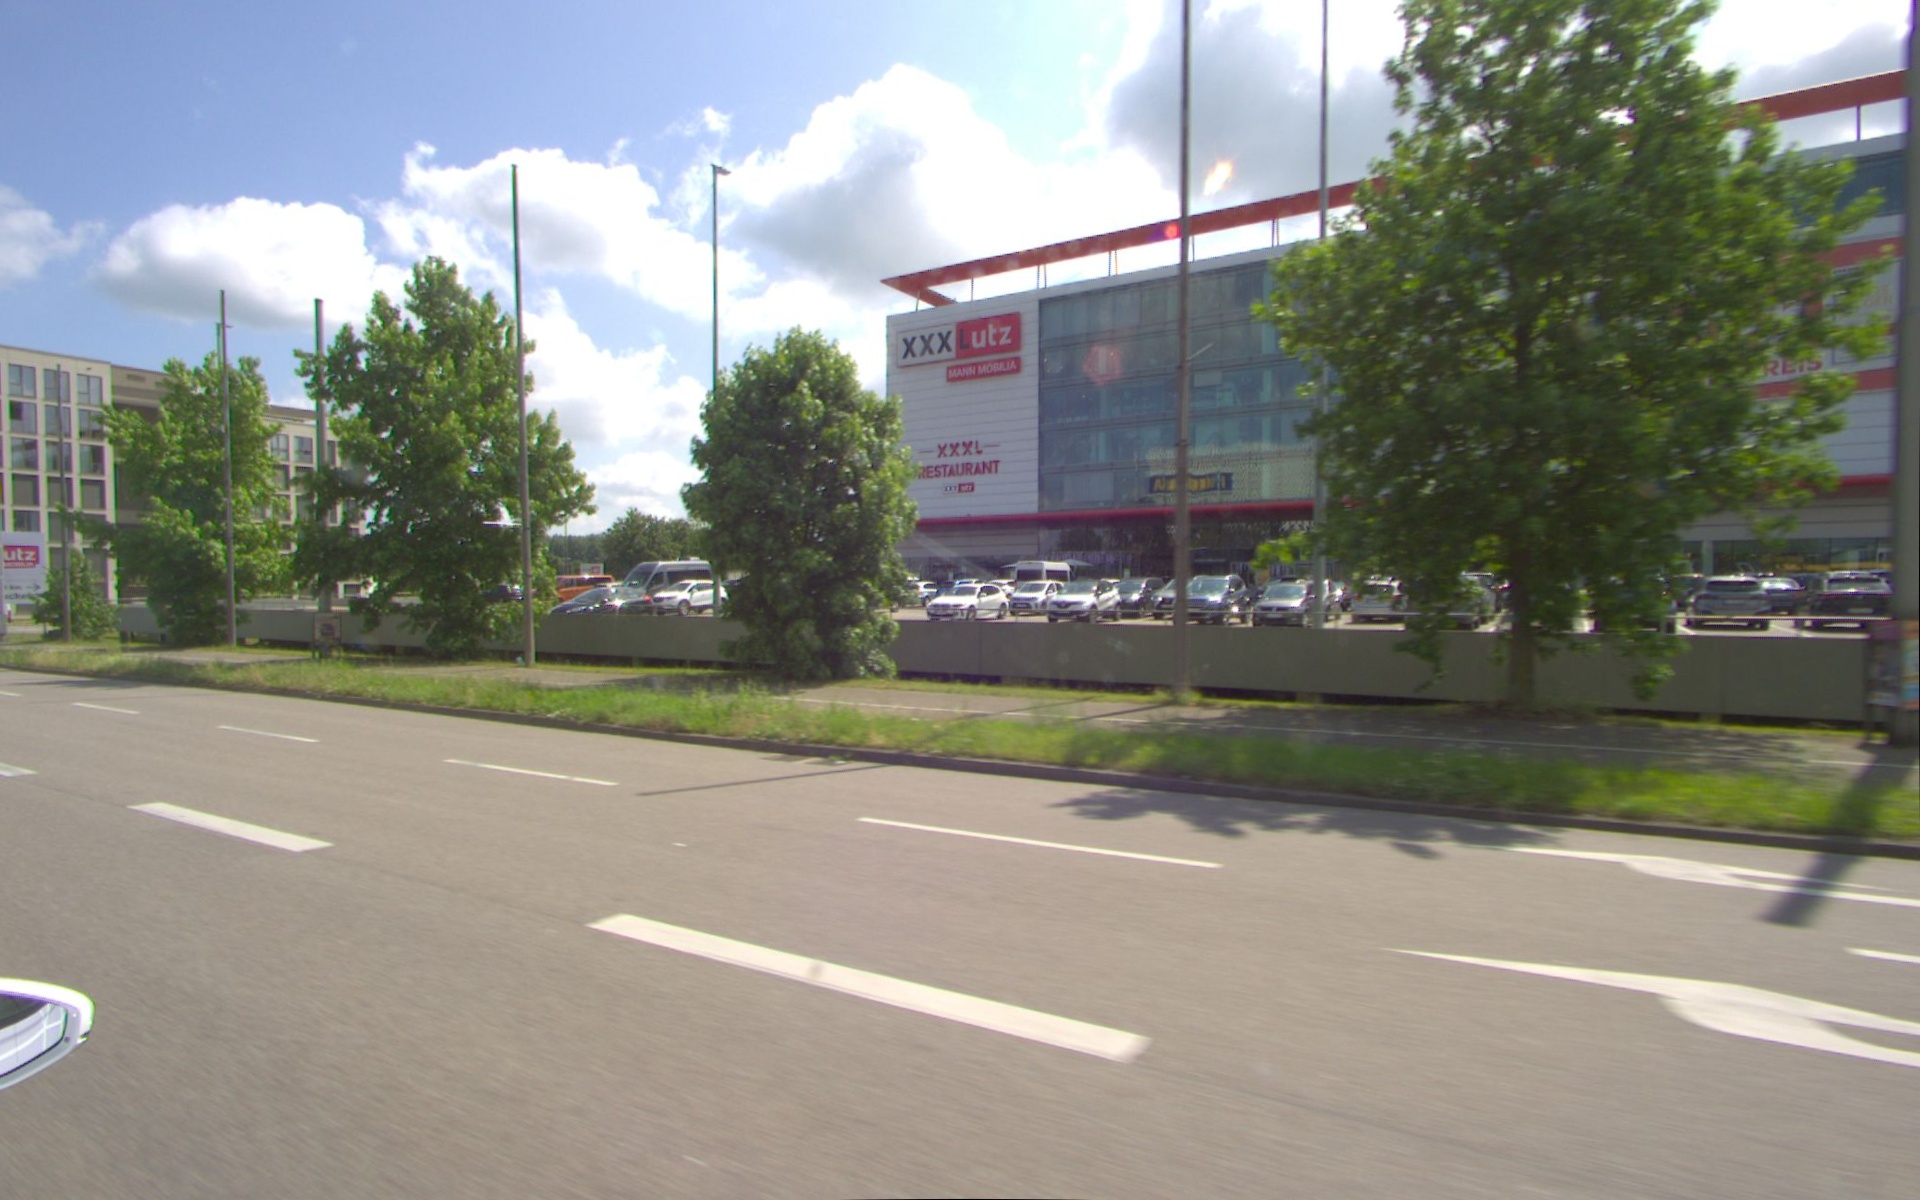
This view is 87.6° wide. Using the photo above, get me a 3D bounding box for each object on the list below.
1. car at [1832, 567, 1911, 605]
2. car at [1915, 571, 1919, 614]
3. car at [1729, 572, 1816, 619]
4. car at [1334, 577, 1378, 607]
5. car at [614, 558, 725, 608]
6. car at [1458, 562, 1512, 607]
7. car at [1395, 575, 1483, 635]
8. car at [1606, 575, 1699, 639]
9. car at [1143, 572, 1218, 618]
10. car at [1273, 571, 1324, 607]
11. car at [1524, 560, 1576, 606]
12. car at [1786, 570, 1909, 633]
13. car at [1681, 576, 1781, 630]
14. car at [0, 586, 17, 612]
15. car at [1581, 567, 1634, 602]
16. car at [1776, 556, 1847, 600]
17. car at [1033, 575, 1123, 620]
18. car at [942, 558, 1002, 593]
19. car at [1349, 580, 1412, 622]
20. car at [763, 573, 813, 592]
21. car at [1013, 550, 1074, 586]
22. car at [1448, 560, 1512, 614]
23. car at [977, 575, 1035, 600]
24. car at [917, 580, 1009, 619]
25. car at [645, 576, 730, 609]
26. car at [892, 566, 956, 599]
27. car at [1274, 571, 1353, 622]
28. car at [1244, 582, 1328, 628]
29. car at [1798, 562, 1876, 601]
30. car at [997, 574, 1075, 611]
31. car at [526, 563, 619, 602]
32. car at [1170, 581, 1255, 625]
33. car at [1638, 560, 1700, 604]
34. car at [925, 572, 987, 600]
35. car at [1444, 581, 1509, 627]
[{"bbox_3d":[43.679,-0.671,48.092,1.970,1.747,3.981,1,1,30],"label":"car"},{"bbox_3d":[34.812,-0.158,34.495,1.679,1.532,4.146,1,4,28],"label":"car"},{"bbox_3d":[30.417,-0.224,37.600,1.825,1.609,4.217,1,2,30],"label":"car"},{"bbox_3d":[17.898,-0.347,45.208,1.372,1.270,3.404,1,1,30],"label":"car"},{"bbox_3d":[-14.822,-0.823,51.438,2.031,2.397,5.650,0,0,30],"label":"car"},{"bbox_3d":[25.121,-0.729,47.873,1.971,2.041,3.979,1,1,32],"label":"car"},{"bbox_3d":[14.374,0.072,29.915,2.000,1.596,4.350,1,2,30],"label":"car"},{"bbox_3d":[18.903,0.127,27.480,1.738,1.574,4.174,1,2,30],"label":"car"},{"bbox_3d":[8.868,-0.216,40.053,1.765,1.751,3.981,1,1,30],"label":"car"},{"bbox_3d":[15.953,-0.484,47.124,1.551,1.617,3.666,1,1,30],"label":"car"},{"bbox_3d":[27.330,-0.757,46.339,1.971,2.041,3.979,1,1,32],"label":"car"},{"bbox_3d":[25.577,-0.024,29.024,1.787,1.643,4.350,2,3,31],"label":"car"},{"bbox_3d":[23.343,0.082,30.472,1.863,1.519,4.352,0,0,30],"label":"car"},{"bbox_3d":[-86.873,-0.083,88.138,1.978,2.285,5.466,2,1,43],"label":"car"},{"bbox_3d":[28.810,-0.667,44.600,1.878,1.483,3.978,1,1,33],"label":"car"},{"bbox_3d":[41.814,-1.063,49.268,1.970,2.041,3.981,1,1,30],"label":"car"},{"bbox_3d":[4.484,-0.075,37.449,1.970,1.592,3.982,0,0,30],"label":"car"},{"bbox_3d":[0.790,-1.512,62.413,1.971,2.041,3.979,1,1,32],"label":"car"},{"bbox_3d":[15.036,0.049,35.690,1.591,1.406,3.760,0,0,31],"label":"car"},{"bbox_3d":[-14.598,-1.457,85.193,1.972,1.572,3.977,0,0,34],"label":"car"},{"bbox_3d":[4.972,-1.843,59.077,1.971,1.977,3.979,1,1,32],"label":"car"},{"bbox_3d":[21.187,-0.510,40.739,1.971,2.041,3.979,1,1,32],"label":"car"},{"bbox_3d":[2.833,-0.755,61.175,1.882,1.453,3.787,1,1,32],"label":"car"},{"bbox_3d":[0.180,-0.055,39.573,1.864,1.408,4.177,1,2,29],"label":"car"},{"bbox_3d":[-13.288,-0.365,48.996,1.721,1.534,3.981,0,0,30],"label":"car"},{"bbox_3d":[-2.049,-0.996,57.830,1.750,1.862,3.875,1,1,33],"label":"car"},{"bbox_3d":[13.126,-0.143,37.054,1.970,1.773,3.980,1,1,31],"label":"car"},{"bbox_3d":[10.779,0.104,32.898,1.738,1.343,4.350,1,2,30],"label":"car"},{"bbox_3d":[36.474,-0.757,41.759,1.681,1.531,4.332,1,1,31],"label":"car"},{"bbox_3d":[3.475,-0.324,45.034,1.970,1.592,3.982,1,1,30],"label":"car"},{"bbox_3d":[-23.427,-1.000,60.776,1.958,2.224,5.152,0,-1,31],"label":"car"},{"bbox_3d":[8.763,0.060,34.500,1.663,1.343,4.173,1,2,32],"label":"car"},{"bbox_3d":[30.538,-0.742,43.235,1.972,1.773,3.977,1,1,33],"label":"car"},{"bbox_3d":[-0.182,-0.761,56.680,1.718,1.536,3.787,1,1,32],"label":"car"},{"bbox_3d":[17.979,0.130,34.763,1.734,1.483,4.233,1,1,31],"label":"car"}]
